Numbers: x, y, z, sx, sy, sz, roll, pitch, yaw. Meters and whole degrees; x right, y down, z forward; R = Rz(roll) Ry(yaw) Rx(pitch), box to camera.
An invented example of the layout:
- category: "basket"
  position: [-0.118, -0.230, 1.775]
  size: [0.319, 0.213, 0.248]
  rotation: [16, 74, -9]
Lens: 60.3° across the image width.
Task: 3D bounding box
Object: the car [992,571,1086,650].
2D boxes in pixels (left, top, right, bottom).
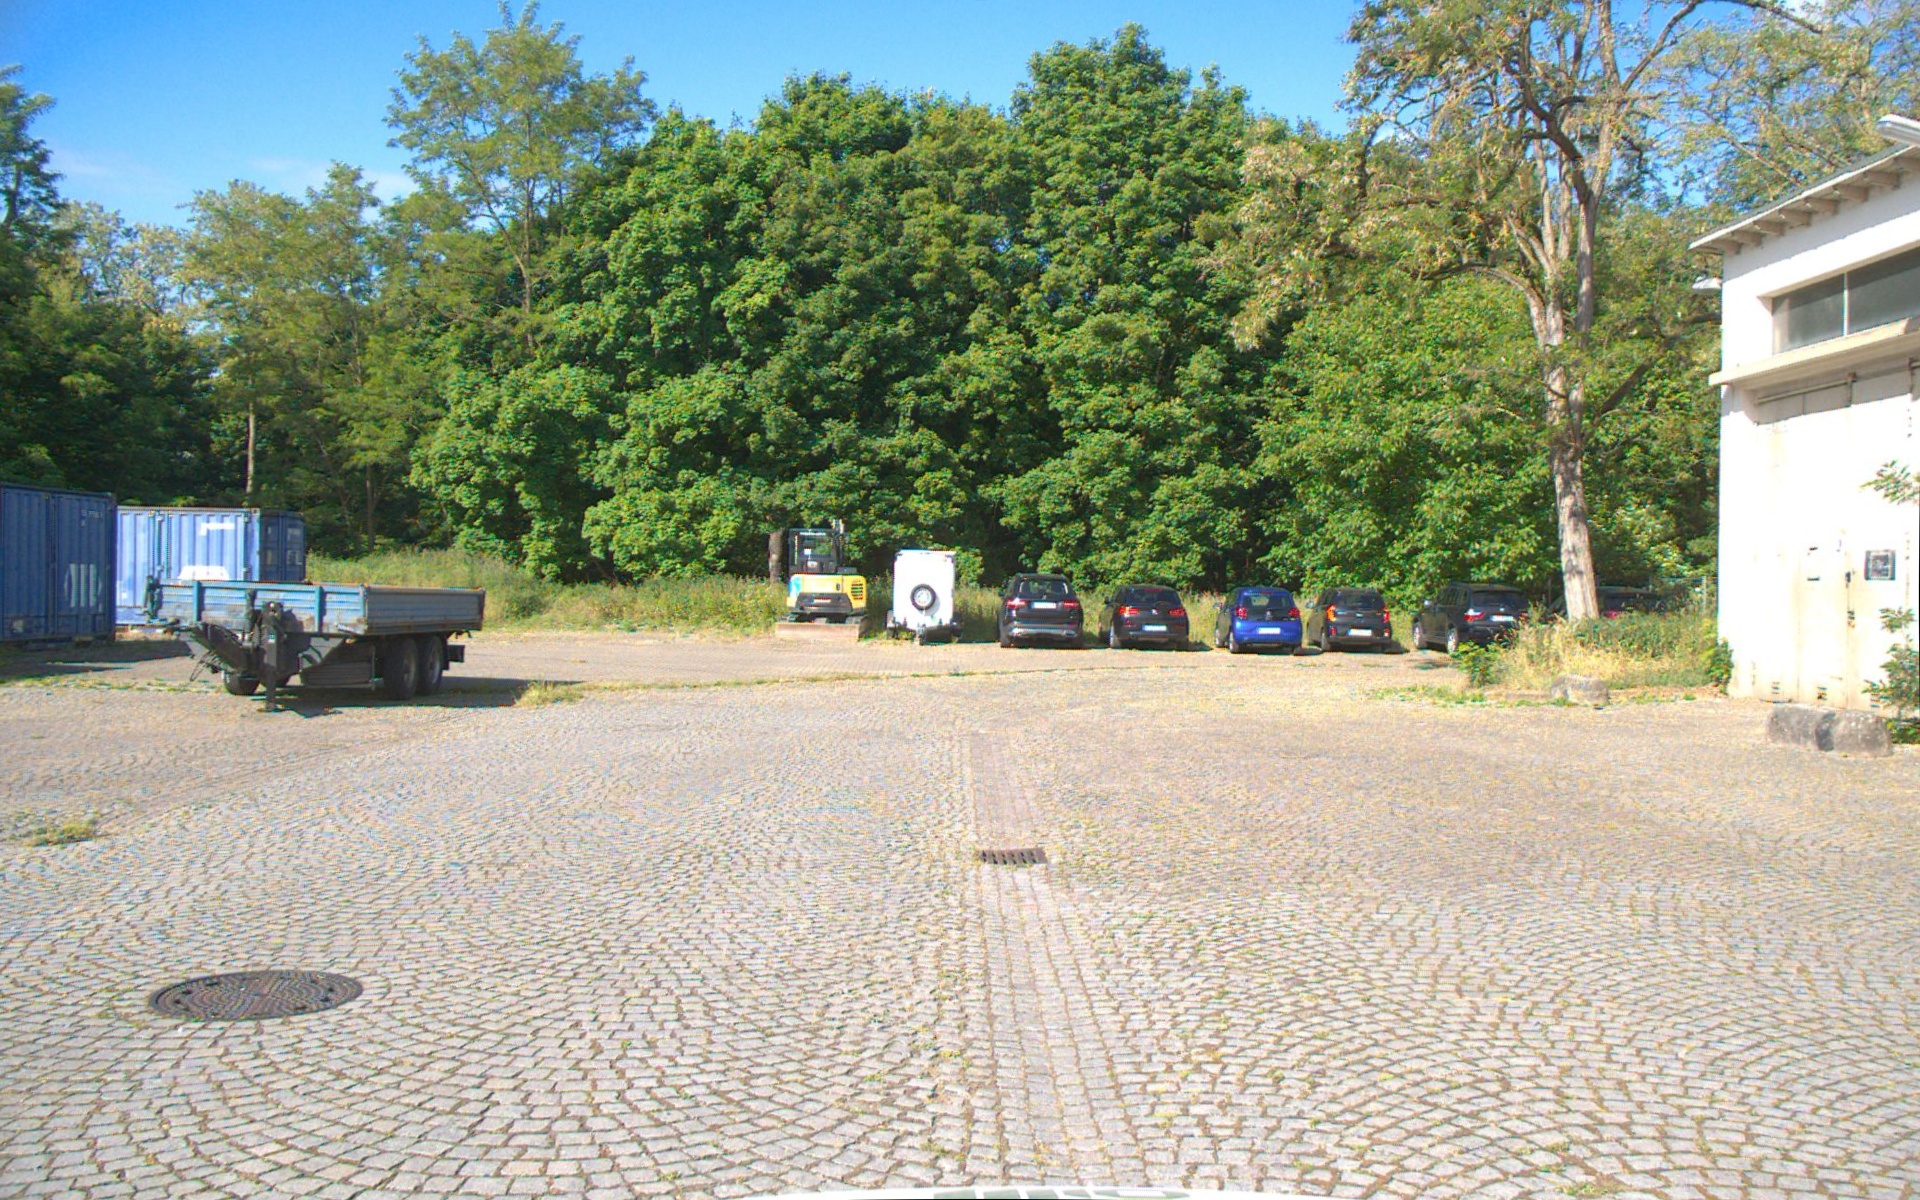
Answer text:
- category: "car"
  position: [1.750, 0.192, 37.831]
  size: [1.924, 1.617, 4.131]
  rotation: [2, 1, 0]

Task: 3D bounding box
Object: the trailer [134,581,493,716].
- category: "trailer"
  position: [-7.882, 0.540, 20.845]
  size: [2.586, 1.439, 4.861]
  rotation: [1, 0, 0]

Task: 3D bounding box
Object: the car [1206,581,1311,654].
- category: "car"
  position: [6.851, 0.365, 38.297]
  size: [1.743, 1.484, 3.791]
  rotation: [2, 2, 1]

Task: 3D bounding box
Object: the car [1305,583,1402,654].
- category: "car"
  position: [9.302, 0.400, 39.334]
  size: [1.702, 1.476, 3.728]
  rotation: [2, 2, 5]

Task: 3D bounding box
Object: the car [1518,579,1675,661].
- category: "car"
  position: [15.028, 0.428, 39.314]
  size: [1.788, 1.616, 4.271]
  rotation: [0, 4, -5]

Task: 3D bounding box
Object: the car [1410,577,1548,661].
- category: "car"
  position: [12.145, 0.391, 39.010]
  size: [1.836, 1.659, 4.274]
  rotation: [2, 3, -1]

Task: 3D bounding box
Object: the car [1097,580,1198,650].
- category: "car"
  position: [4.275, 0.307, 38.211]
  size: [1.850, 1.436, 3.790]
  rotation: [2, 1, 0]

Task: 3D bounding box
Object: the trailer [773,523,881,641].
- category: "trailer"
  position: [-3.111, -0.474, 39.321]
  size: [2.212, 2.582, 2.852]
  rotation: [2, 4, 1]

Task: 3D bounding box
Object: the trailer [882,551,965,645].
- category: "trailer"
  position: [-0.823, -0.082, 38.978]
  size: [1.781, 2.086, 2.851]
  rotation: [2, 1, 1]
